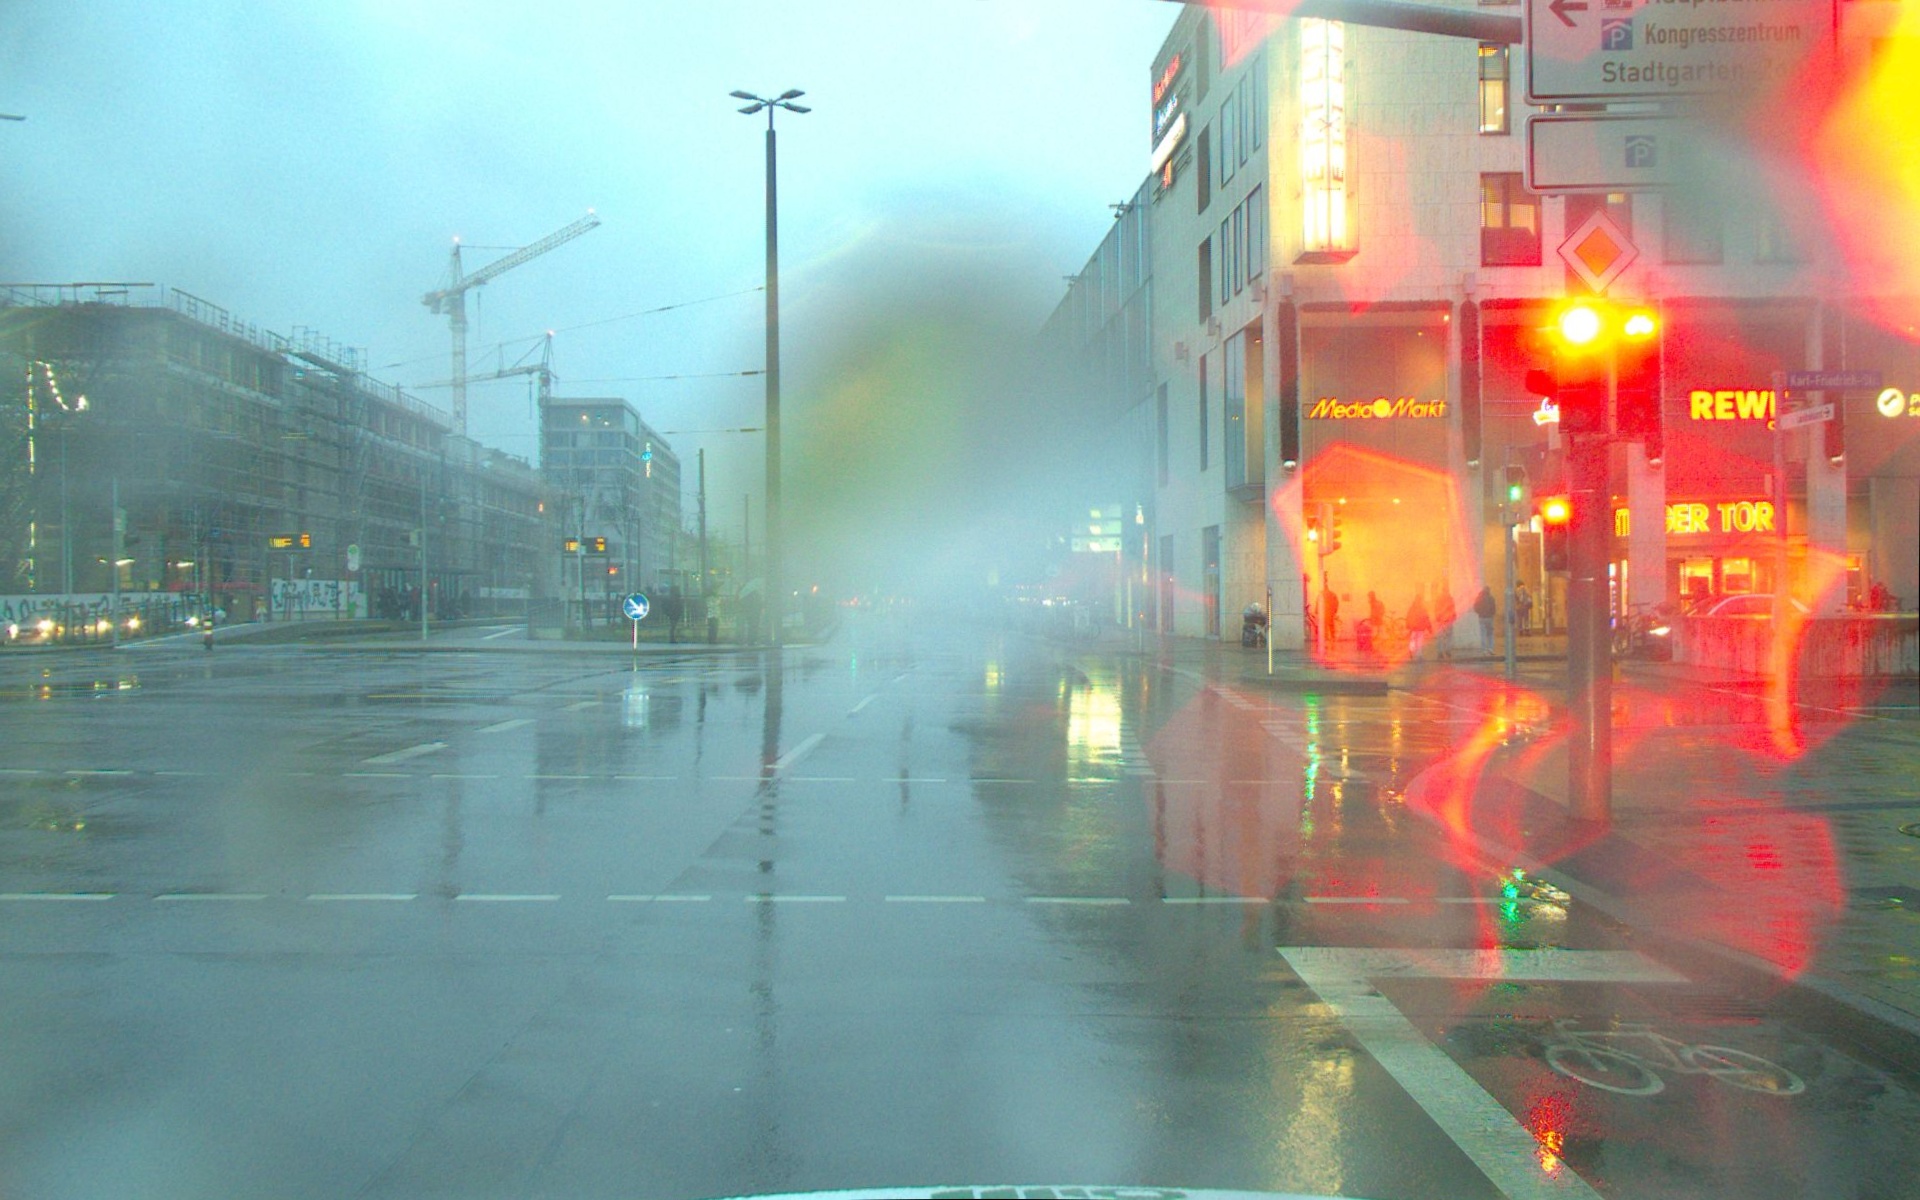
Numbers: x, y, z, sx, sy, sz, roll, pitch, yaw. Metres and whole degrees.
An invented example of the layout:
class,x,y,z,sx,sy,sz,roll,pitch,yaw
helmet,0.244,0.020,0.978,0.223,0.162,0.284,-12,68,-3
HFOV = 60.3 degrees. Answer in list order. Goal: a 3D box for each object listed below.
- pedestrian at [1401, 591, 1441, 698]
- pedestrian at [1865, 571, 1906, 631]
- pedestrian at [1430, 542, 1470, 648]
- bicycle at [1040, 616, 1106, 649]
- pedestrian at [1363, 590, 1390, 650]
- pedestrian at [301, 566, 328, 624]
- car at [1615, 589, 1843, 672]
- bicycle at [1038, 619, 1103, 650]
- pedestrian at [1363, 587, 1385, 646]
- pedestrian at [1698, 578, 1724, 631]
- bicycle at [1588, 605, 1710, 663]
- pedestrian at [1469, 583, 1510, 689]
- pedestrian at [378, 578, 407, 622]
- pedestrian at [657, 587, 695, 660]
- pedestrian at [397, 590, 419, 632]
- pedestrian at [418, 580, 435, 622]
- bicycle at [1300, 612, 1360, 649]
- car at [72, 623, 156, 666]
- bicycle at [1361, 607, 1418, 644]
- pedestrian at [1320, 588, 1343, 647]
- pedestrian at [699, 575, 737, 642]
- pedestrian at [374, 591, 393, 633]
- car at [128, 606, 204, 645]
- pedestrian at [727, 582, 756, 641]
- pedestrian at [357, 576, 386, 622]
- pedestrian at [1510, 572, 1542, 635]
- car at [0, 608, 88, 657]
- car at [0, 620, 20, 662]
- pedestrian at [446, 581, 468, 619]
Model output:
class,x,y,z,sx,sy,sz,roll,pitch,yaw
pedestrian,10.854,1.030,38.975,0.700,2.484,0.758,1,-1,-1
pedestrian,26.872,0.033,48.035,0.875,1.714,0.528,-1,-1,-1
pedestrian,11.667,-0.119,39.391,0.675,2.484,0.758,1,-1,-1
bicycle,4.215,1.218,61.593,2.393,1.174,0.674,-1,-1,-2
pedestrian,12.274,0.582,48.709,0.624,1.739,0.573,-1,0,-2
pedestrian,-26.670,-0.191,68.333,0.750,2.364,0.762,1,-2,-1
car,16.253,0.627,35.105,3.905,1.646,2.000,1,0,0
bicycle,4.170,1.292,62.335,2.376,1.118,0.711,-1,-1,-3
pedestrian,12.116,0.479,48.403,0.476,1.692,0.457,-1,-1,30
pedestrian,24.744,0.149,54.502,0.721,1.748,0.738,-1,-1,27
bicycle,17.202,0.843,41.344,2.659,1.383,0.957,-1,-1,-4
pedestrian,12.589,0.848,39.345,0.679,2.491,0.791,1,-1,-1
pedestrian,-26.763,-0.019,78.024,0.923,2.049,1.094,1,-1,-1
pedestrian,-8.102,0.661,47.256,0.771,2.049,0.724,0,-1,41
pedestrian,-25.684,0.536,76.949,0.750,1.931,0.762,1,-2,-1
pedestrian,-25.943,0.061,80.398,0.559,2.002,0.664,2,-1,-7
bicycle,11.365,0.936,50.806,1.733,1.088,0.524,1,-1,-6
car,-38.022,1.985,74.416,1.954,1.822,3.996,1,0,-5
bicycle,13.255,0.787,51.001,1.614,1.088,0.524,1,-1,-5
pedestrian,11.236,0.518,50.031,0.587,1.775,0.525,1,-1,7
pedestrian,-6.787,0.243,46.354,0.813,1.863,0.777,1,-1,-31
pedestrian,-26.688,0.566,76.561,0.684,1.913,0.553,1,-1,-2
car,-38.333,1.220,79.966,1.954,1.822,3.996,1,0,-5
pedestrian,-6.315,0.331,47.845,0.601,1.715,0.575,0,-1,41
pedestrian,-26.877,-0.032,75.586,0.923,2.049,1.093,1,-1,-2
pedestrian,18.414,0.115,53.809,0.828,2.049,0.698,-1,0,8
car,-37.035,1.280,66.853,1.830,1.860,3.993,1,0,-8
car,-36.405,1.524,60.530,2.038,1.557,4.604,-1,0,-10
pedestrian,-27.648,0.021,90.893,0.924,2.049,1.092,1,-1,-8
